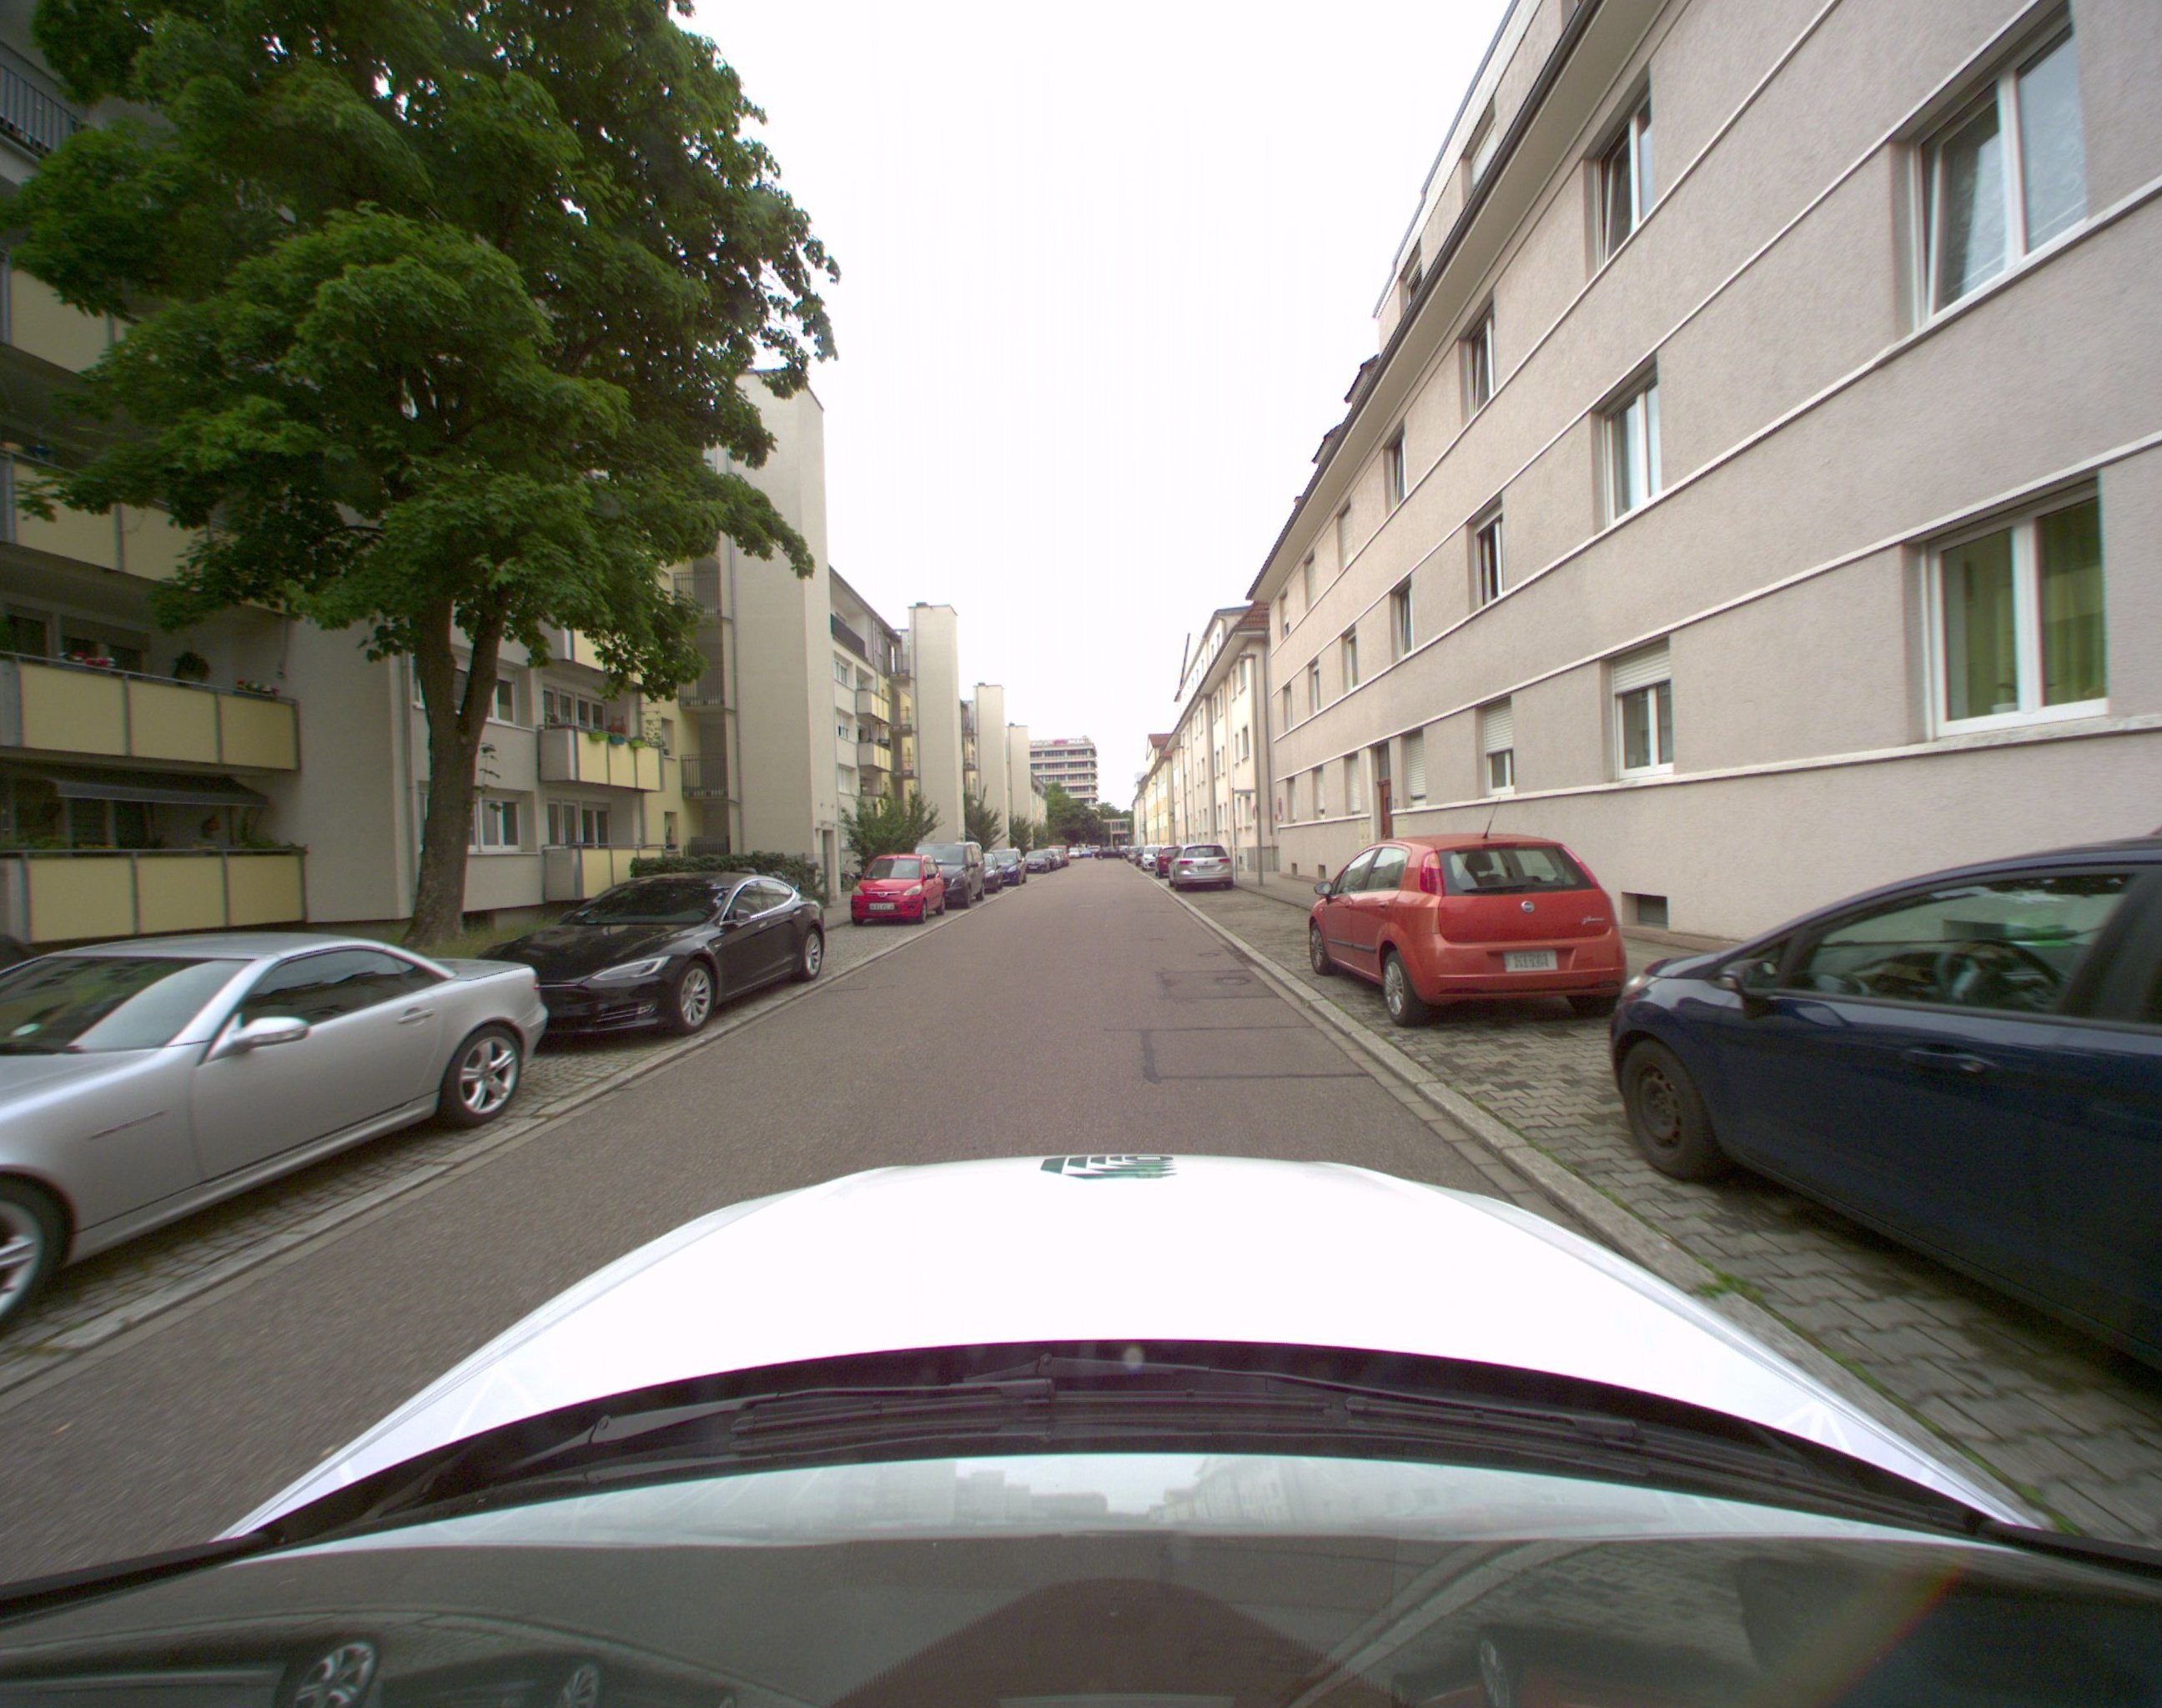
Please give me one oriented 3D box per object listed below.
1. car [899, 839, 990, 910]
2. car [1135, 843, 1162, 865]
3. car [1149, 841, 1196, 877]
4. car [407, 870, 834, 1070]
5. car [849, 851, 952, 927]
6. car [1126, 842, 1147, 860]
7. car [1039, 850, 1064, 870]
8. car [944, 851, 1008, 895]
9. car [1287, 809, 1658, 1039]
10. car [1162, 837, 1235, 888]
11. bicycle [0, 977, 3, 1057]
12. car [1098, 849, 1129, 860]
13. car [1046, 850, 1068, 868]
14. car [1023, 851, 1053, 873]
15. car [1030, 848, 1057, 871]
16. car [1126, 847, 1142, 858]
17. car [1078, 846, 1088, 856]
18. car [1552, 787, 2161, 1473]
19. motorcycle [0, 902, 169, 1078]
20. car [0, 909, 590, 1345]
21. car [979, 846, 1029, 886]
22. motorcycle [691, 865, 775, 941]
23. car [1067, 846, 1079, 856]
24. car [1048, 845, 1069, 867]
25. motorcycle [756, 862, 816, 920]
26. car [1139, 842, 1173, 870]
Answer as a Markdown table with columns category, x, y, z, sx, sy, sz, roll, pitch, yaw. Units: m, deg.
| category | x | y | z | sx | sy | sz | roll | pitch | yaw |
| --- | --- | --- | --- | --- | --- | --- | --- | --- | --- |
| car | -3.922 | 0.509 | 24.241 | 1.873 | 1.903 | 5.030 | 0 | 1 | 0 |
| car | 5.008 | -0.032 | 60.907 | 1.812 | 1.577 | 3.754 | -2 | 1 | 2 |
| car | 4.108 | 0.180 | 37.156 | 1.664 | 1.420 | 4.001 | -4 | 1 | 1 |
| car | -4.369 | 0.973 | 8.798 | 1.835 | 1.421 | 4.632 | 0 | 1 | 2 |
| car | -4.146 | 0.746 | 19.201 | 1.558 | 1.568 | 3.643 | 0 | 1 | 1 |
| car | 5.287 | -0.324 | 77.547 | 1.812 | 1.577 | 3.886 | -2 | 1 | 2 |
| car | -2.371 | 0.474 | 66.327 | 1.665 | 1.525 | 4.255 | -2 | 1 | 2 |
| car | -3.922 | 0.684 | 31.121 | 1.824 | 1.459 | 4.259 | -2 | 1 | 0 |
| car | 3.245 | 0.470 | 7.662 | 1.690 | 1.525 | 3.828 | -4 | 1 | 2 |
| car | 3.744 | 0.213 | 26.613 | 1.749 | 1.467 | 4.601 | -2 | 1 | 0 |
| bicycle | -9.156 | 1.125 | 5.783 | 0.549 | 1.101 | 1.776 | -2 | 0 | 3 |
| car | 3.870 | 0.036 | 96.812 | 3.714 | 1.214 | 1.545 | -2 | 1 | 2 |
| car | -2.062 | 0.409 | 71.200 | 1.665 | 1.487 | 3.743 | -2 | 1 | 2 |
| car | -2.855 | 0.517 | 54.495 | 1.665 | 1.351 | 3.818 | -2 | 1 | 2 |
| car | -2.702 | 0.388 | 59.999 | 1.665 | 1.563 | 3.666 | -2 | 1 | 2 |
| car | 6.814 | -0.226 | 105.230 | 1.986 | 1.398 | 4.001 | 0 | 1 | 1 |
| car | 0.308 | -0.420 | 128.183 | 1.534 | 1.450 | 3.740 | -3 | 0 | -1 |
| car | 3.140 | 0.565 | 2.289 | 1.561 | 1.473 | 3.699 | -4 | 1 | 3 |
| motorcycle | -8.423 | 1.068 | 5.600 | 0.678 | 1.223 | 3.069 | -2 | 1 | 4 |
| car | -4.599 | 1.082 | 4.102 | 1.690 | 1.258 | 4.017 | -1 | 1 | 2 |
| car | -3.401 | 0.487 | 36.666 | 1.764 | 1.643 | 4.355 | -2 | 1 | 0 |
| motorcycle | -6.913 | 0.922 | 16.317 | 0.675 | 1.356 | 2.230 | 0 | 1 | 2 |
| car | -1.154 | -0.462 | 117.452 | 1.533 | 1.450 | 3.743 | -2 | 1 | 2 |
| car | -2.096 | 0.142 | 76.582 | 1.665 | 1.938 | 3.743 | -2 | 1 | 2 |
| motorcycle | -6.830 | 0.818 | 18.923 | 0.633 | 1.230 | 1.834 | 2 | 1 | 2 |
| car | 4.452 | 0.089 | 48.804 | 1.812 | 1.504 | 3.754 | -2 | 1 | 2 |
